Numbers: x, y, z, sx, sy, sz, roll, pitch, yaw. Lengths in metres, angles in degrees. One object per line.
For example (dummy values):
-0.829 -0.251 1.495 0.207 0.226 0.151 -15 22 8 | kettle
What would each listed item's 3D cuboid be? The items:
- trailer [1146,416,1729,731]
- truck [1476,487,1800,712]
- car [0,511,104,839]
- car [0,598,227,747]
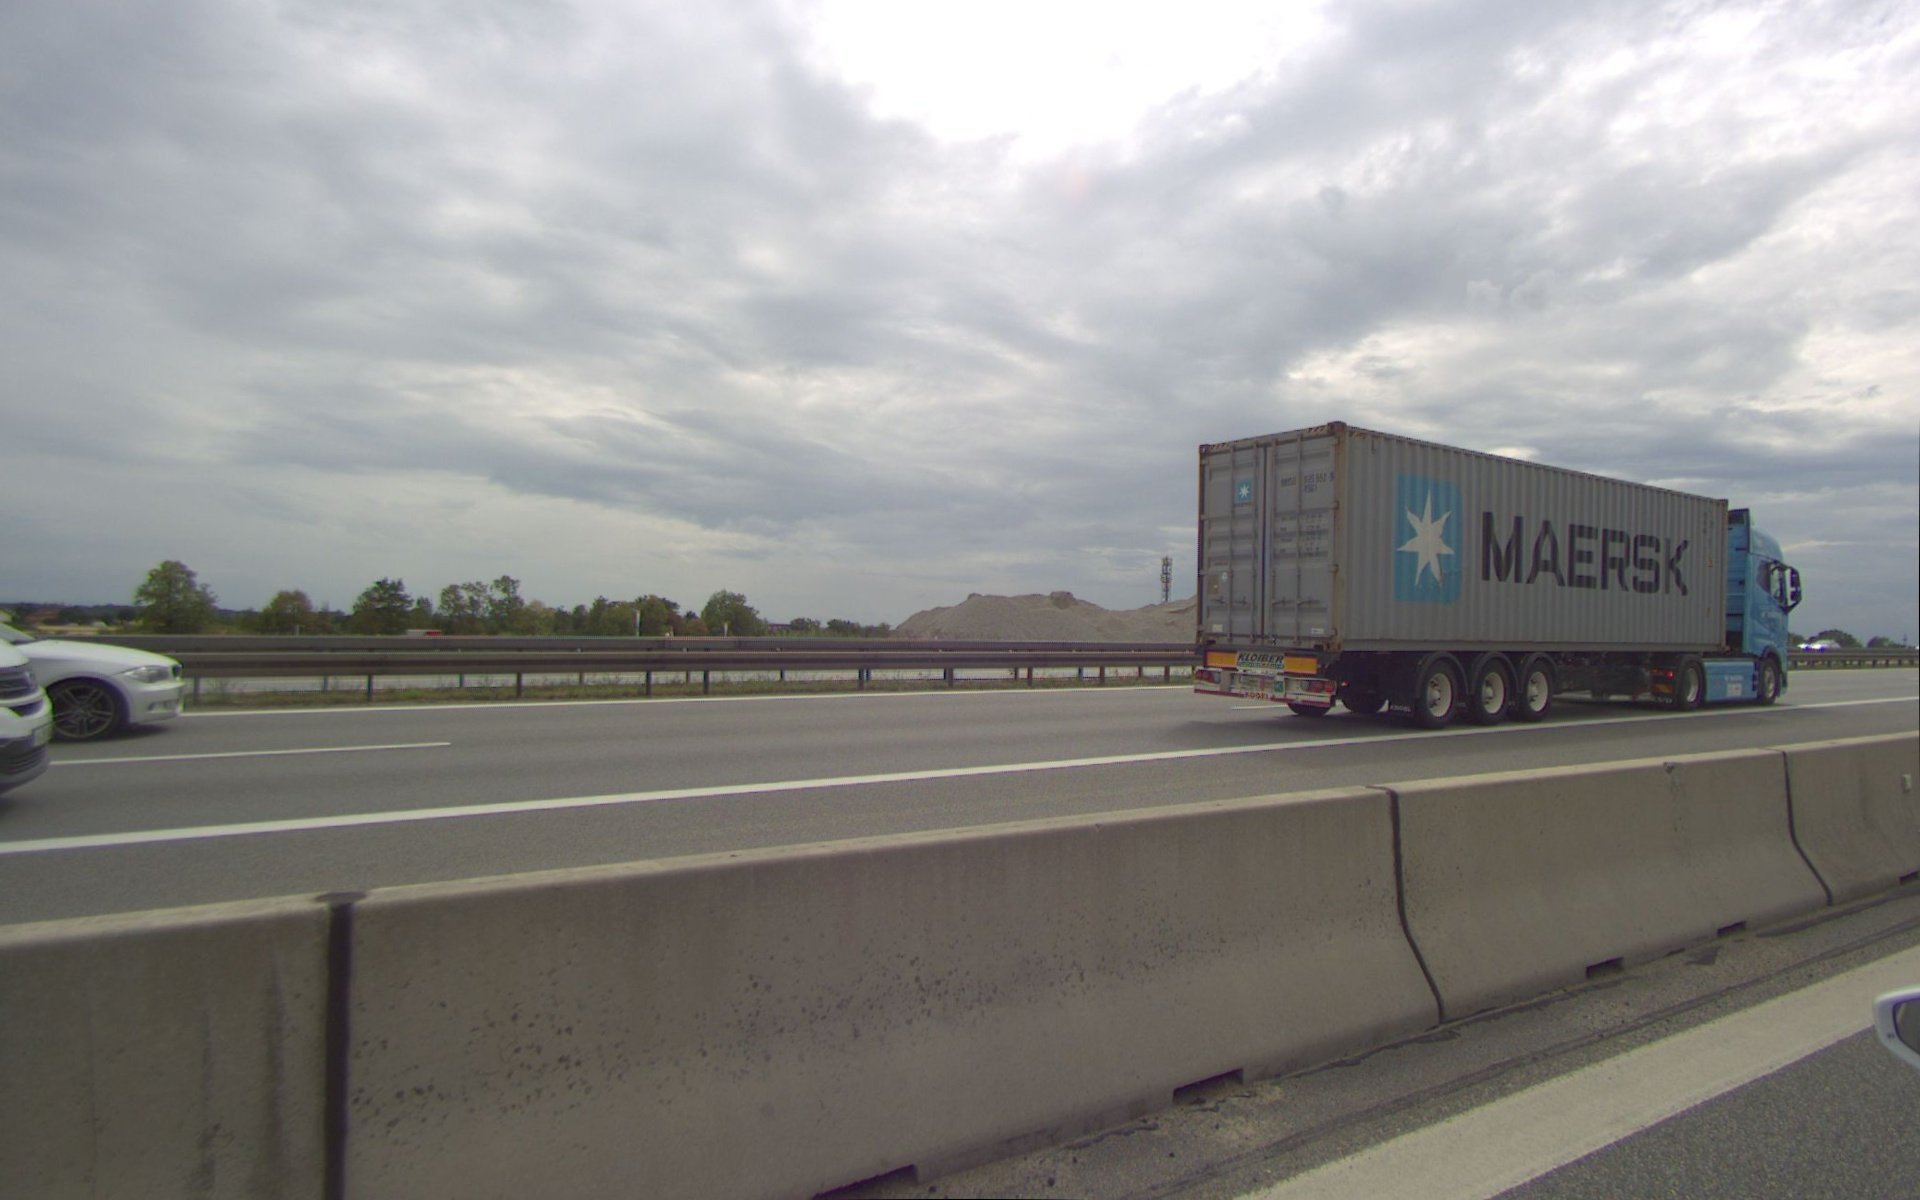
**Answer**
8.865 -0.163 17.404 12.250 3.976 3.217 2 0 -34 | trailer
14.152 0.075 20.874 6.538 3.963 3.228 2 0 -33 | truck
-8.224 0.360 5.525 5.078 1.963 1.987 2 0 -34 | car
-9.868 0.671 9.897 4.163 1.387 1.741 2 -1 -35 | car
